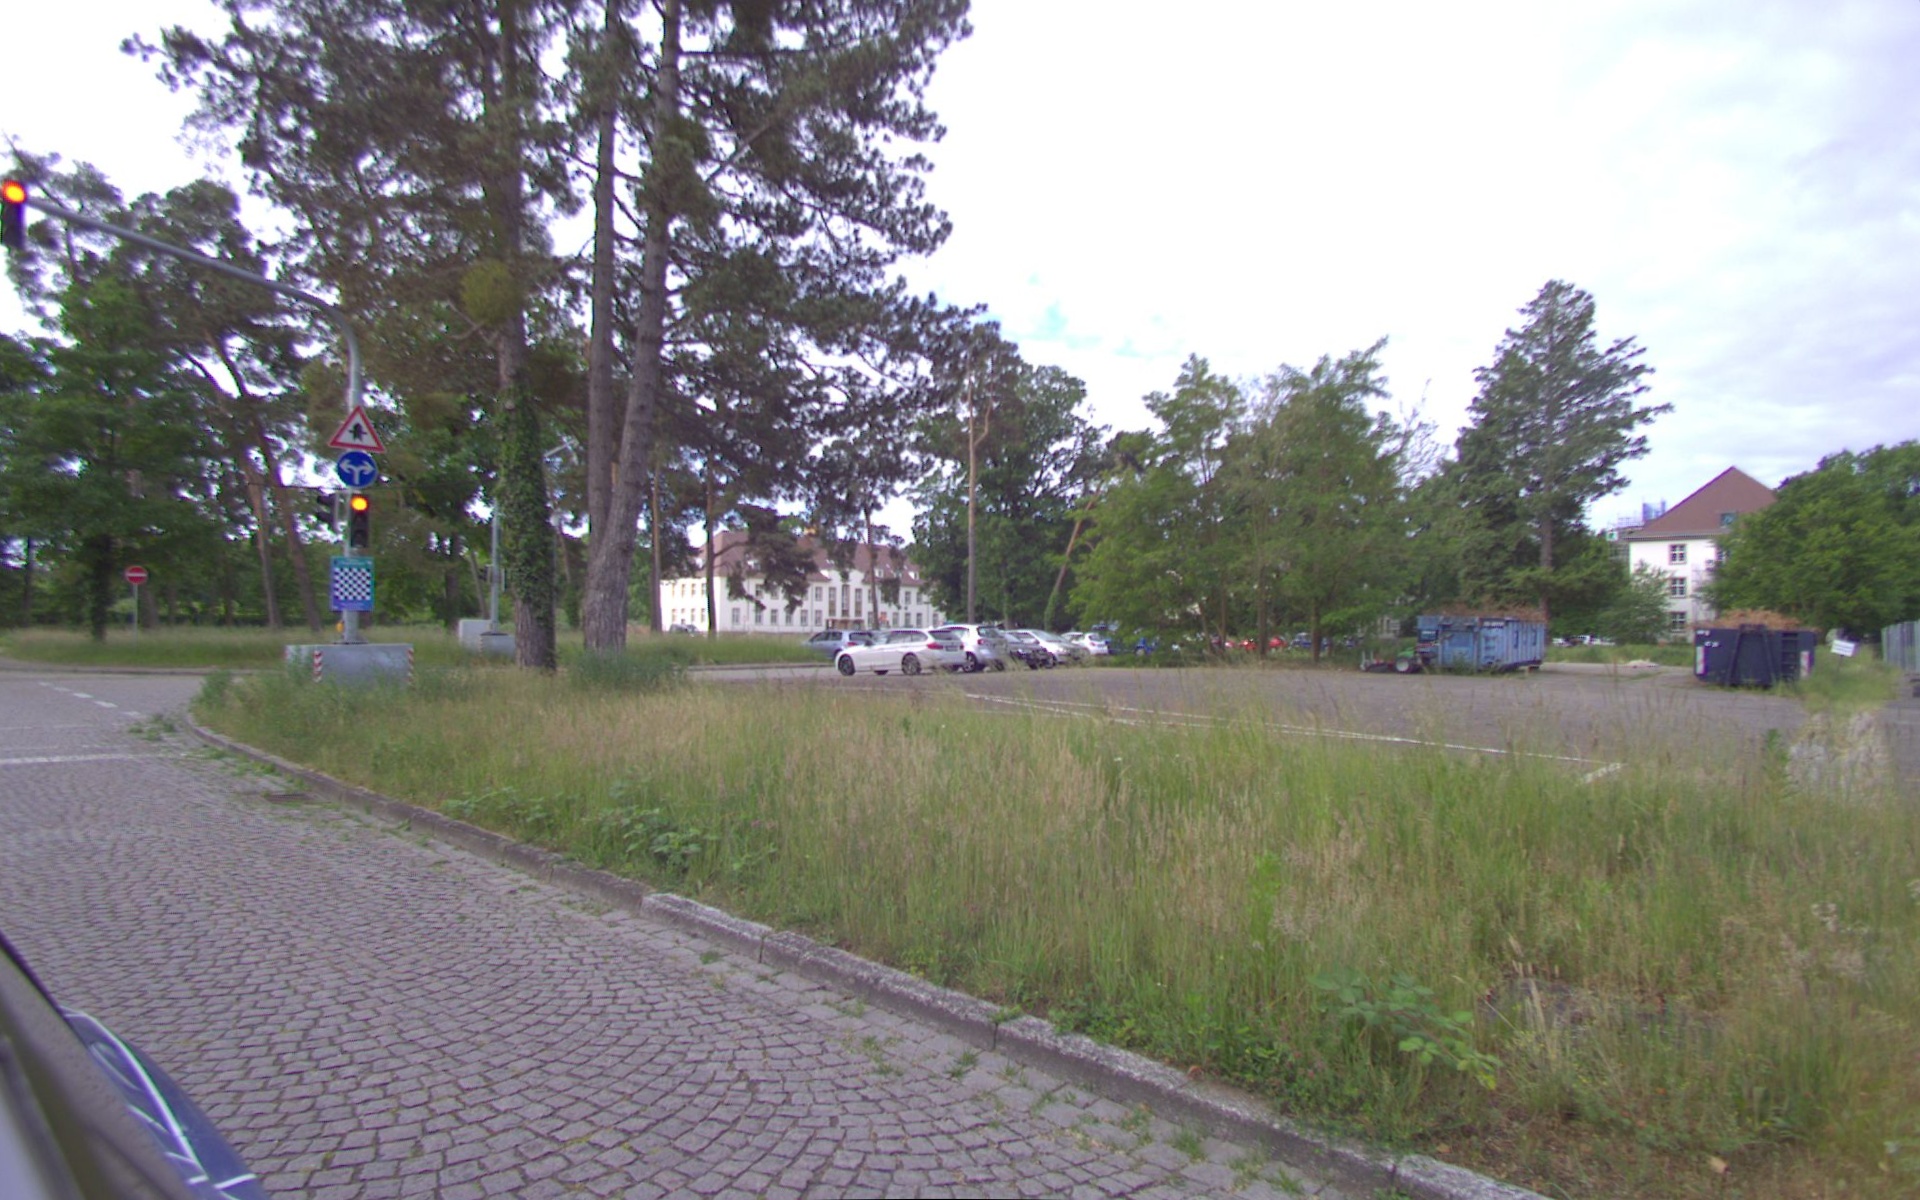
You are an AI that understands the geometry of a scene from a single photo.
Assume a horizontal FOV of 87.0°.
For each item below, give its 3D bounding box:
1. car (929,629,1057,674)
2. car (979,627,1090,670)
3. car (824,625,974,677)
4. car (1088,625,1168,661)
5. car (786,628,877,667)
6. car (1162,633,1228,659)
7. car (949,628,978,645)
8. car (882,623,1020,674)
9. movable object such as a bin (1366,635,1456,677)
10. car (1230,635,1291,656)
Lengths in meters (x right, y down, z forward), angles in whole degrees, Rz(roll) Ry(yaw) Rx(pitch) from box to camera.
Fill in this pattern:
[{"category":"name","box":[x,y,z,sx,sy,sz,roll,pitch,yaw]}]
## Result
[{"category":"car","box":[1.117,1.832,35.777,4.446,1.435,1.699,-4,-5,41]},{"category":"car","box":[2.733,1.832,37.877,3.959,1.481,1.564,-4,-4,40]},{"category":"car","box":[-1.973,1.637,31.662,4.751,1.499,1.841,-3,-5,40]},{"category":"car","box":[10.216,2.585,61.741,4.608,2.021,1.884,0,-1,45]},{"category":"car","box":[-5.655,2.050,44.374,4.013,1.439,1.674,2,0,42]},{"category":"car","box":[15.884,3.073,68.438,1.630,1.605,4.090,3,-2,-44]},{"category":"car","box":[0.521,5.331,146.680,1.863,2.382,4.385,-3,-3,42]},{"category":"car","box":[-0.341,1.637,33.583,4.369,1.610,1.849,-3,-4,37]},{"category":"movable object such as a bin","box":[13.239,1.627,29.764,2.268,1.134,0.847,0,-1,41]},{"category":"car","box":[22.554,3.404,76.116,4.089,1.455,1.701,0,-2,45]}]
